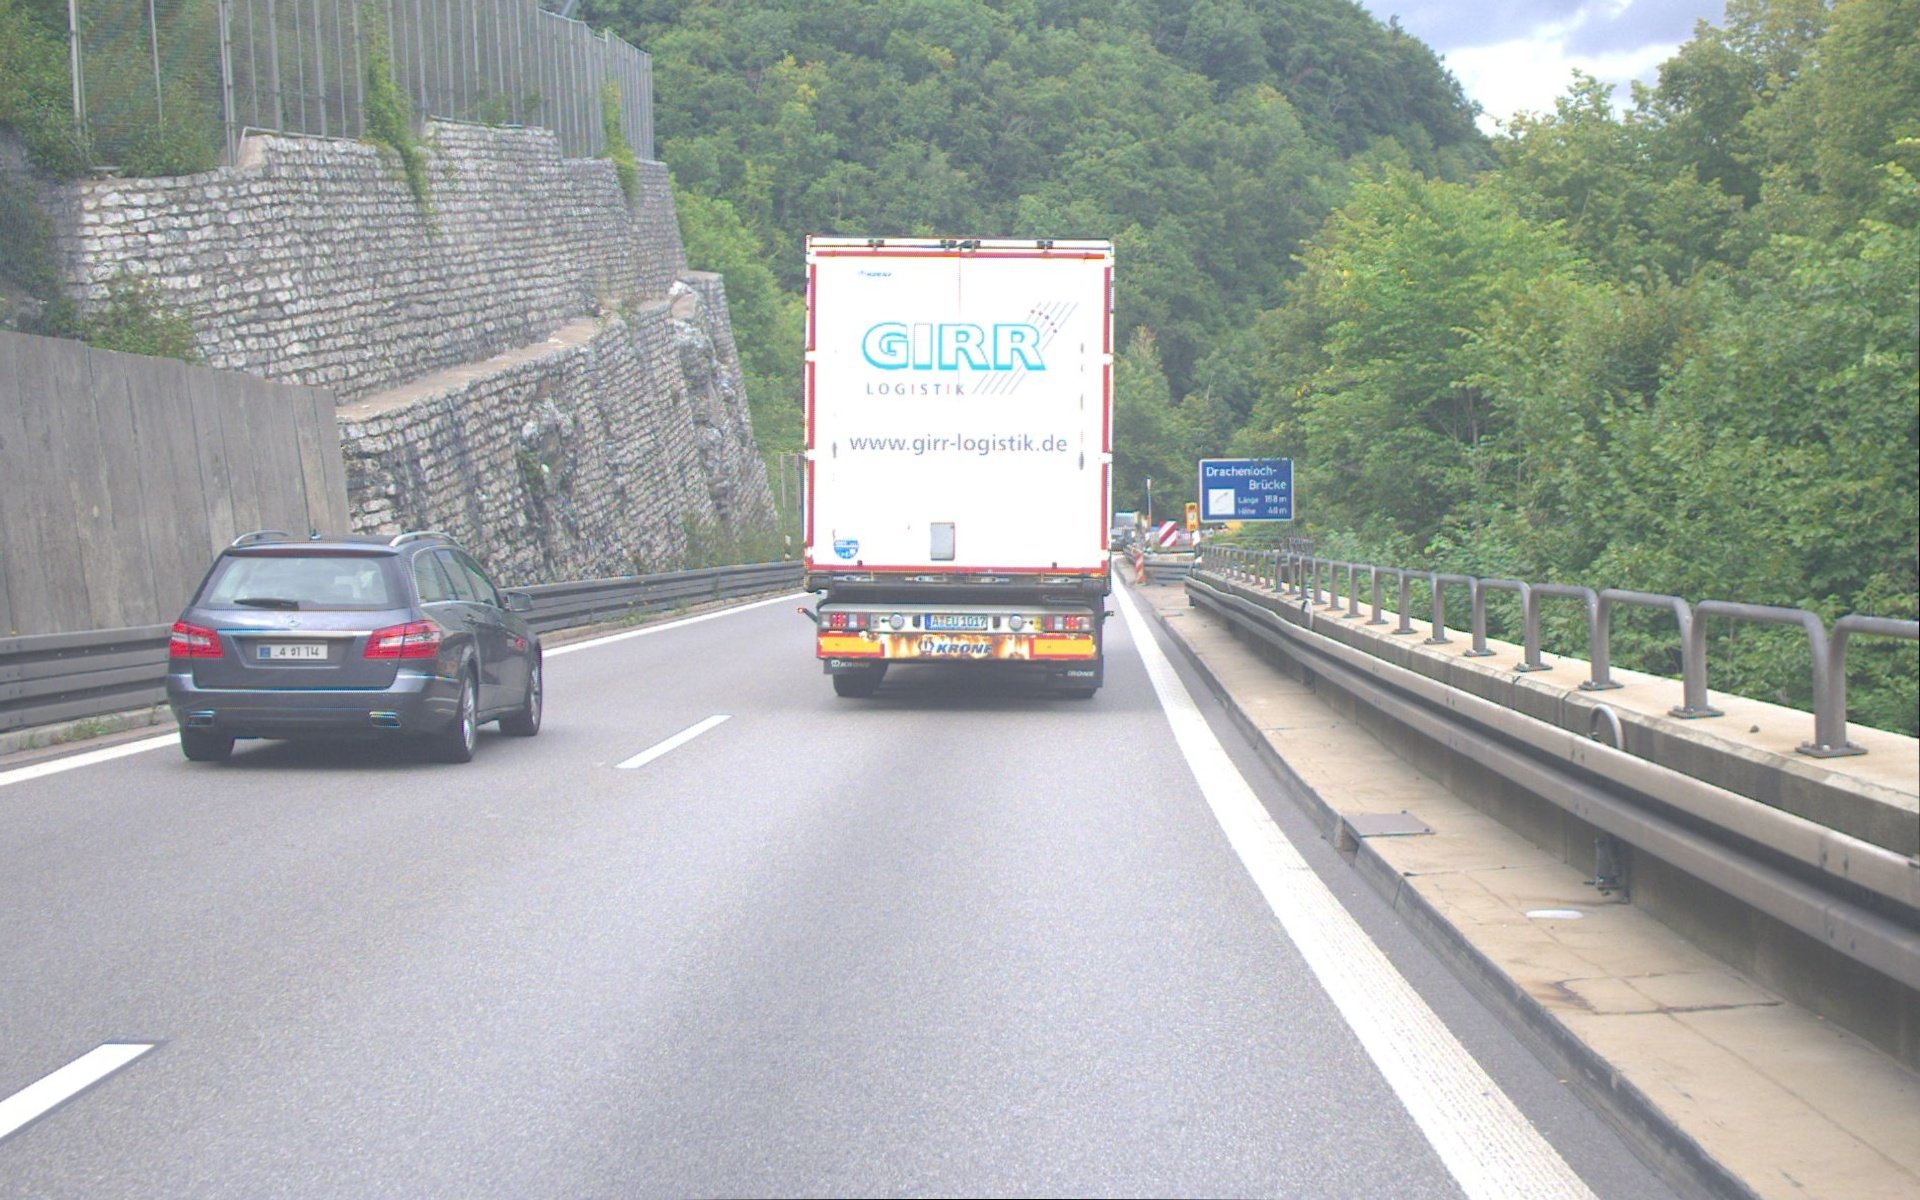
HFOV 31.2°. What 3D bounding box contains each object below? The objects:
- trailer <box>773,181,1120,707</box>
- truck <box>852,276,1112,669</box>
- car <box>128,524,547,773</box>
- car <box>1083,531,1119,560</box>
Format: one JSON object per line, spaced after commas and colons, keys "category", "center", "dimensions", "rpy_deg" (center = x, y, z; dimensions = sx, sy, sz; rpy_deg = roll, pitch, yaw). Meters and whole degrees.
{"category": "trailer", "center": [0.133, -1.348, 34.251], "dimensions": [2.813, 4.288, 12.244], "rpy_deg": [0, 1, 2]}
{"category": "truck", "center": [0.363, -1.431, 40.710], "dimensions": [2.813, 4.288, 6.258], "rpy_deg": [0, 1, 2]}
{"category": "car", "center": [-4.053, 0.269, 23.123], "dimensions": [1.883, 1.505, 4.418], "rpy_deg": [0, 1, 2]}
{"category": "car", "center": [8.833, -3.380, 214.817], "dimensions": [1.994, 1.758, 3.999], "rpy_deg": [0, 1, 6]}
